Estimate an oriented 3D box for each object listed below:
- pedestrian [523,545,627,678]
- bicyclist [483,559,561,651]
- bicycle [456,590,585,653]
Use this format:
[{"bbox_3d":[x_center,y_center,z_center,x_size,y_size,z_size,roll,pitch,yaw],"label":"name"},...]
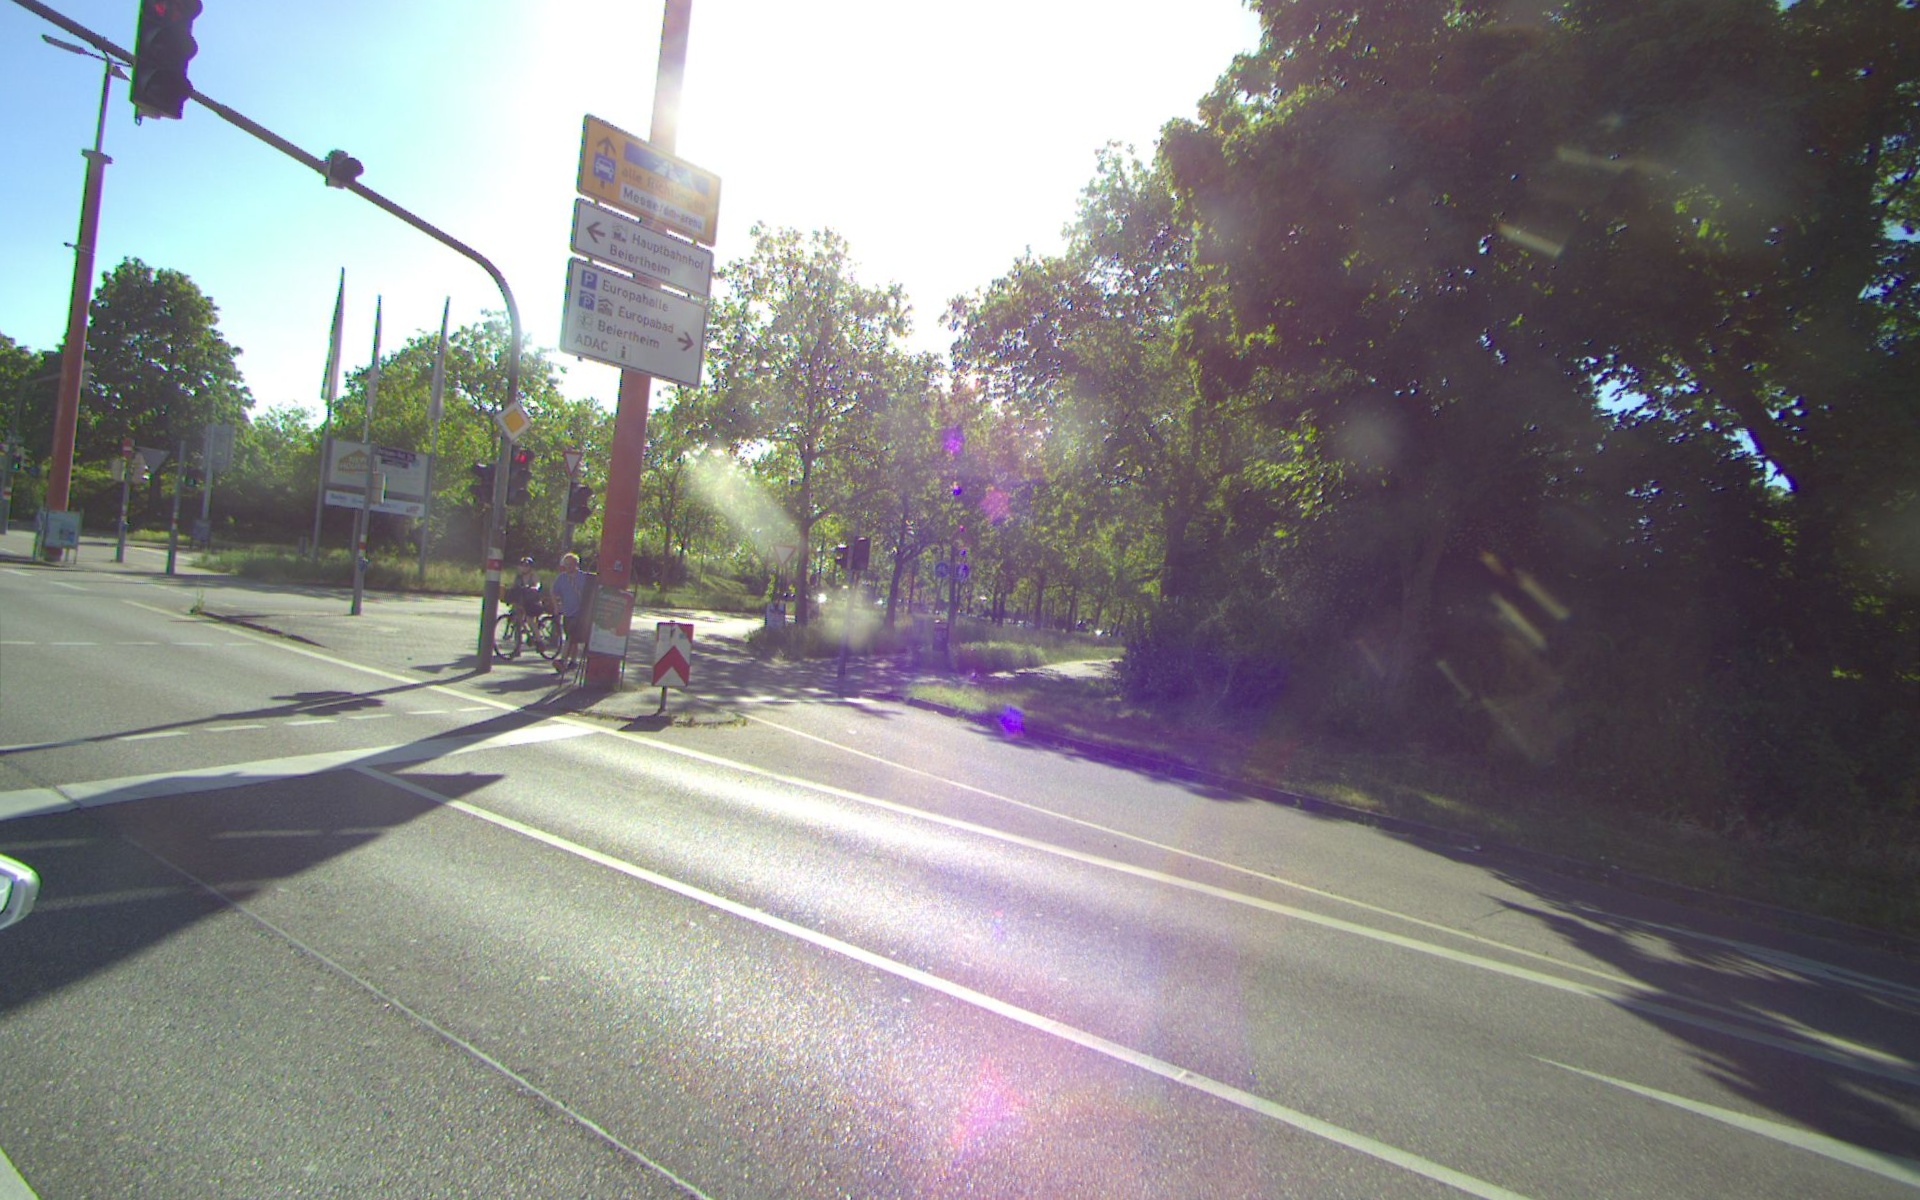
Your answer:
[{"bbox_3d":[-5.678,0.187,14.870,0.884,1.810,0.894,7,0,22],"label":"pedestrian"},{"bbox_3d":[-7.025,0.093,16.141,0.695,1.358,0.742,7,0,21],"label":"bicyclist"},{"bbox_3d":[-7.005,0.377,16.175,0.549,0.889,2.170,7,-1,17],"label":"bicycle"}]
